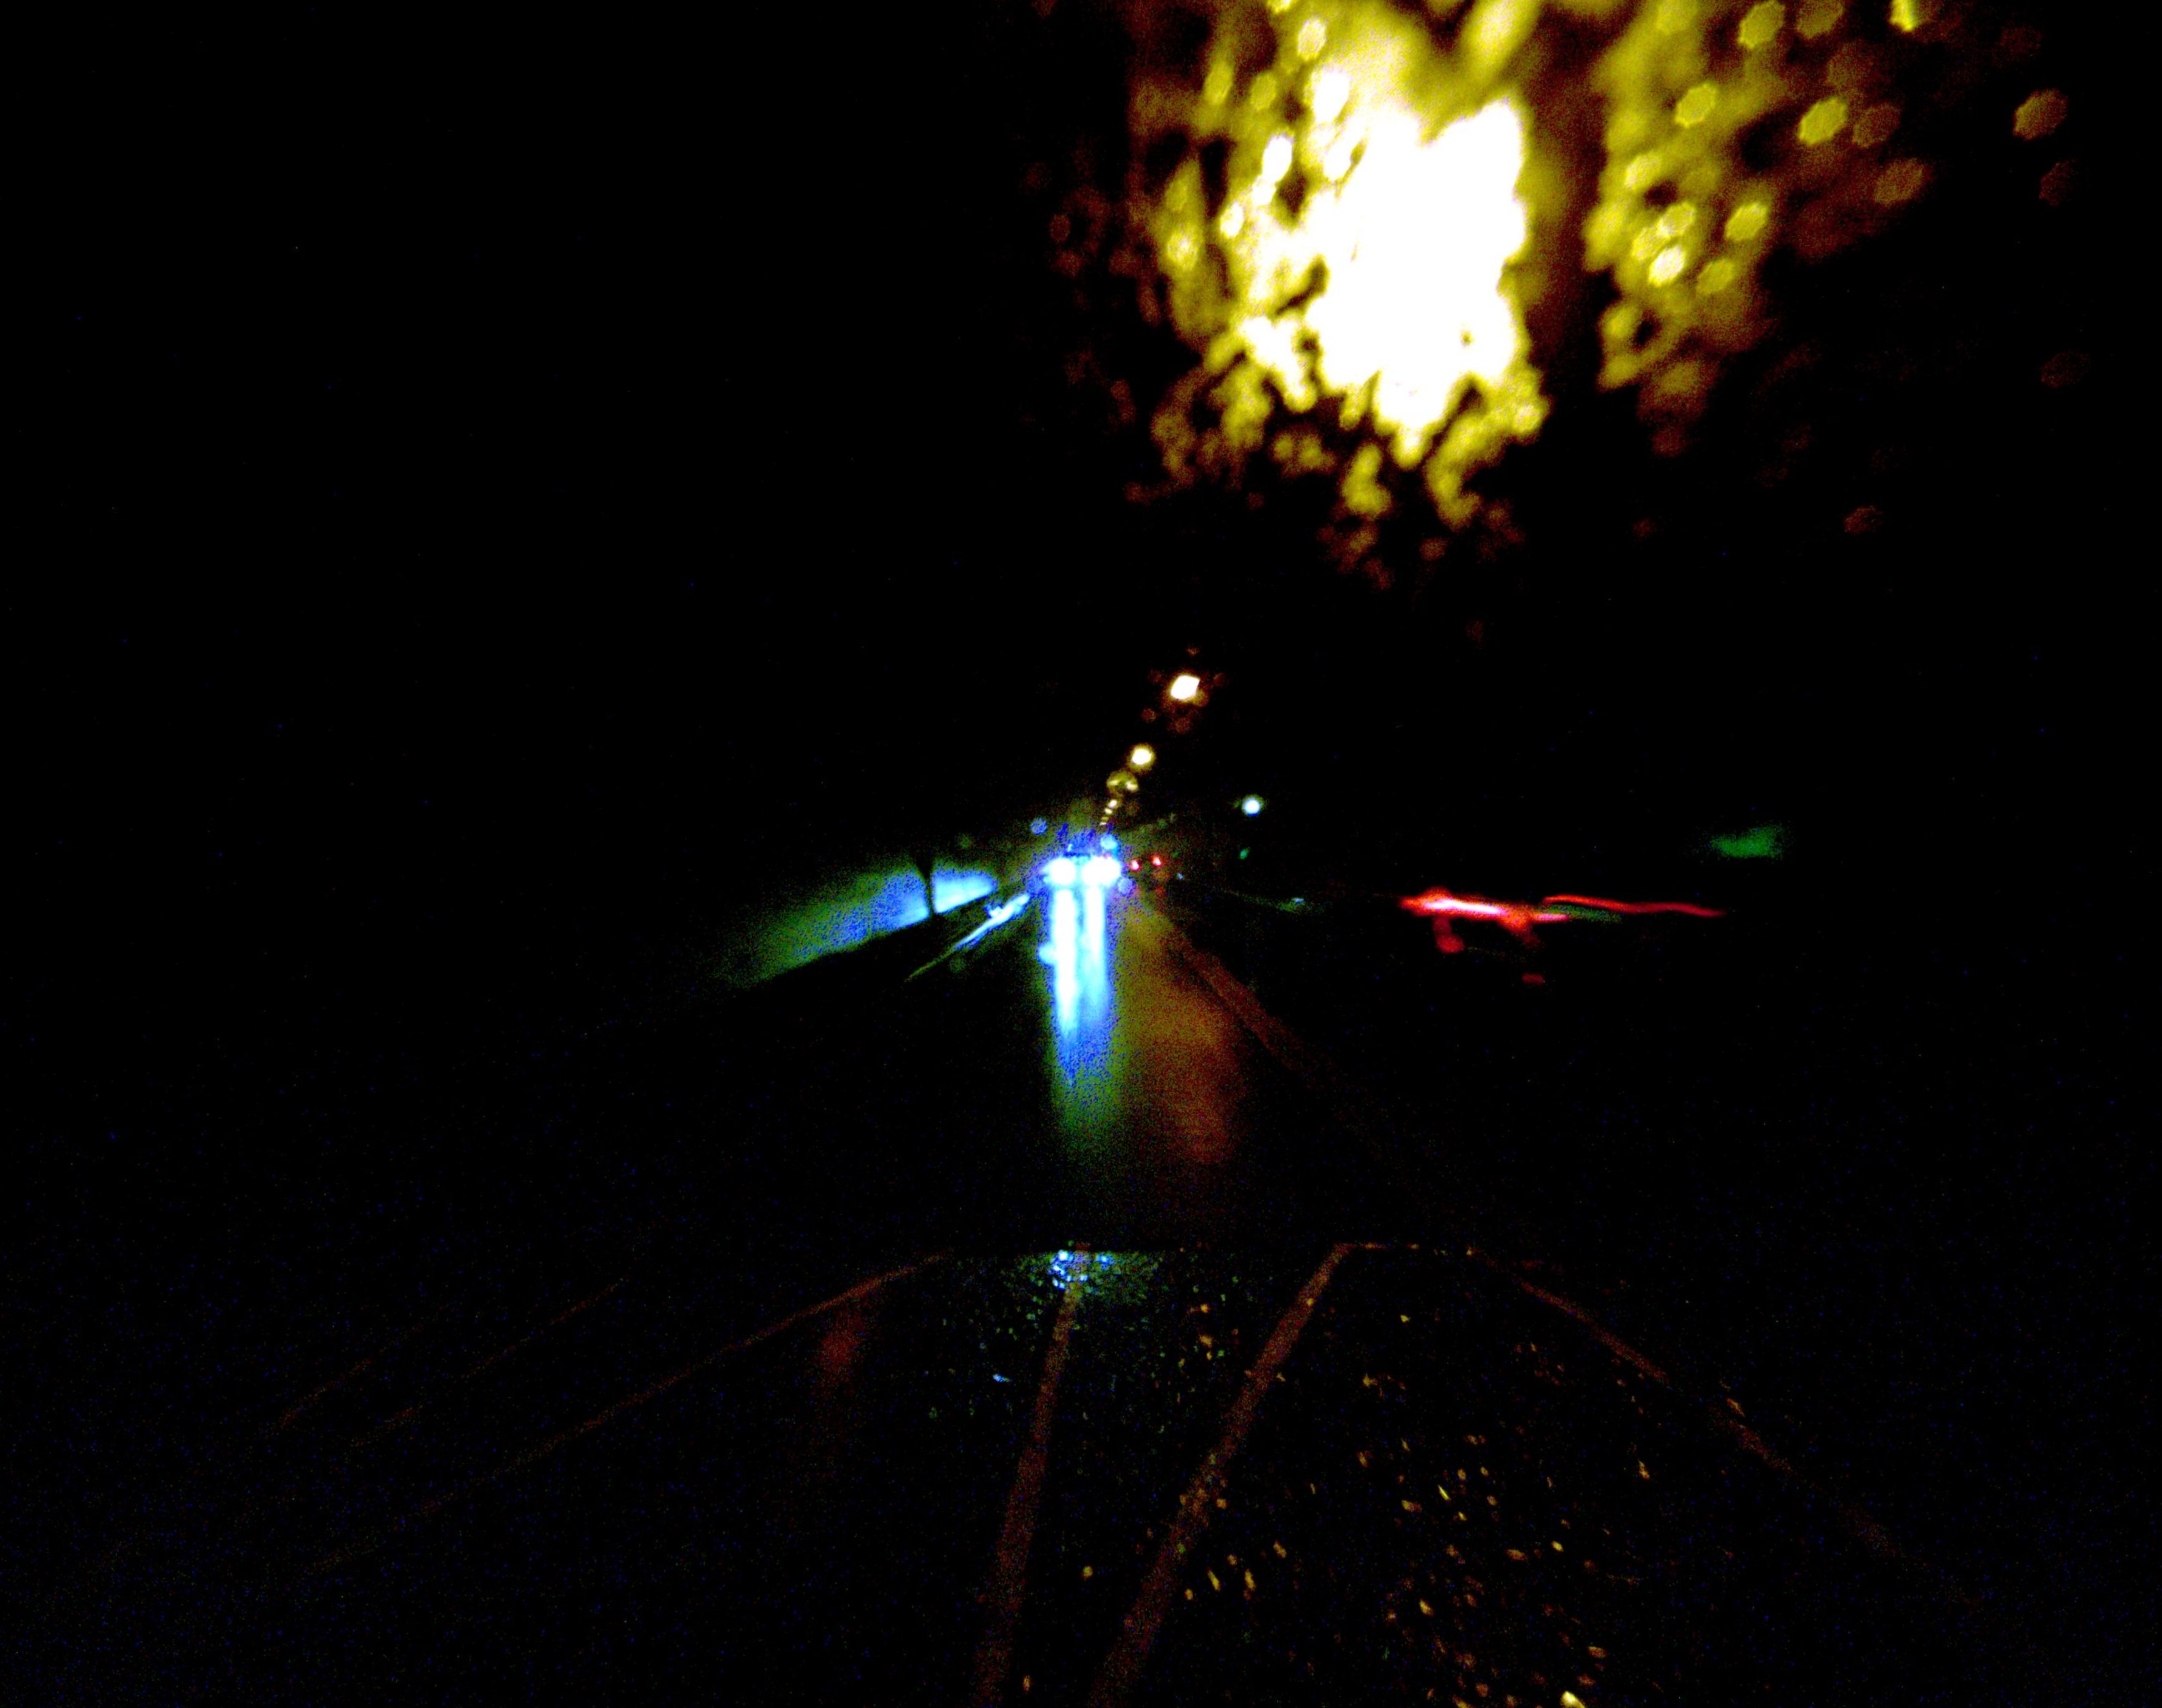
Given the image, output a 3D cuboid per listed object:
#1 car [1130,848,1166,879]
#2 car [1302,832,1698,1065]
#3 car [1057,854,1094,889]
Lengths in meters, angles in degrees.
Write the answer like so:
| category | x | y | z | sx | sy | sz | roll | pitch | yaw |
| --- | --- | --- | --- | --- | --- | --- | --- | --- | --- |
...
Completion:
| category | x | y | z | sx | sy | sz | roll | pitch | yaw |
| --- | --- | --- | --- | --- | --- | --- | --- | --- | --- |
| car | 3.676 | 0.486 | 42.132 | 1.627 | 1.603 | 3.584 | -2 | 1 | 1 |
| car | 3.602 | 0.654 | 7.512 | 1.639 | 1.618 | 4.145 | -2 | 1 | 1 |
| car | -0.238 | 0.814 | 36.294 | 1.627 | 1.487 | 3.584 | -2 | 1 | 1 |
